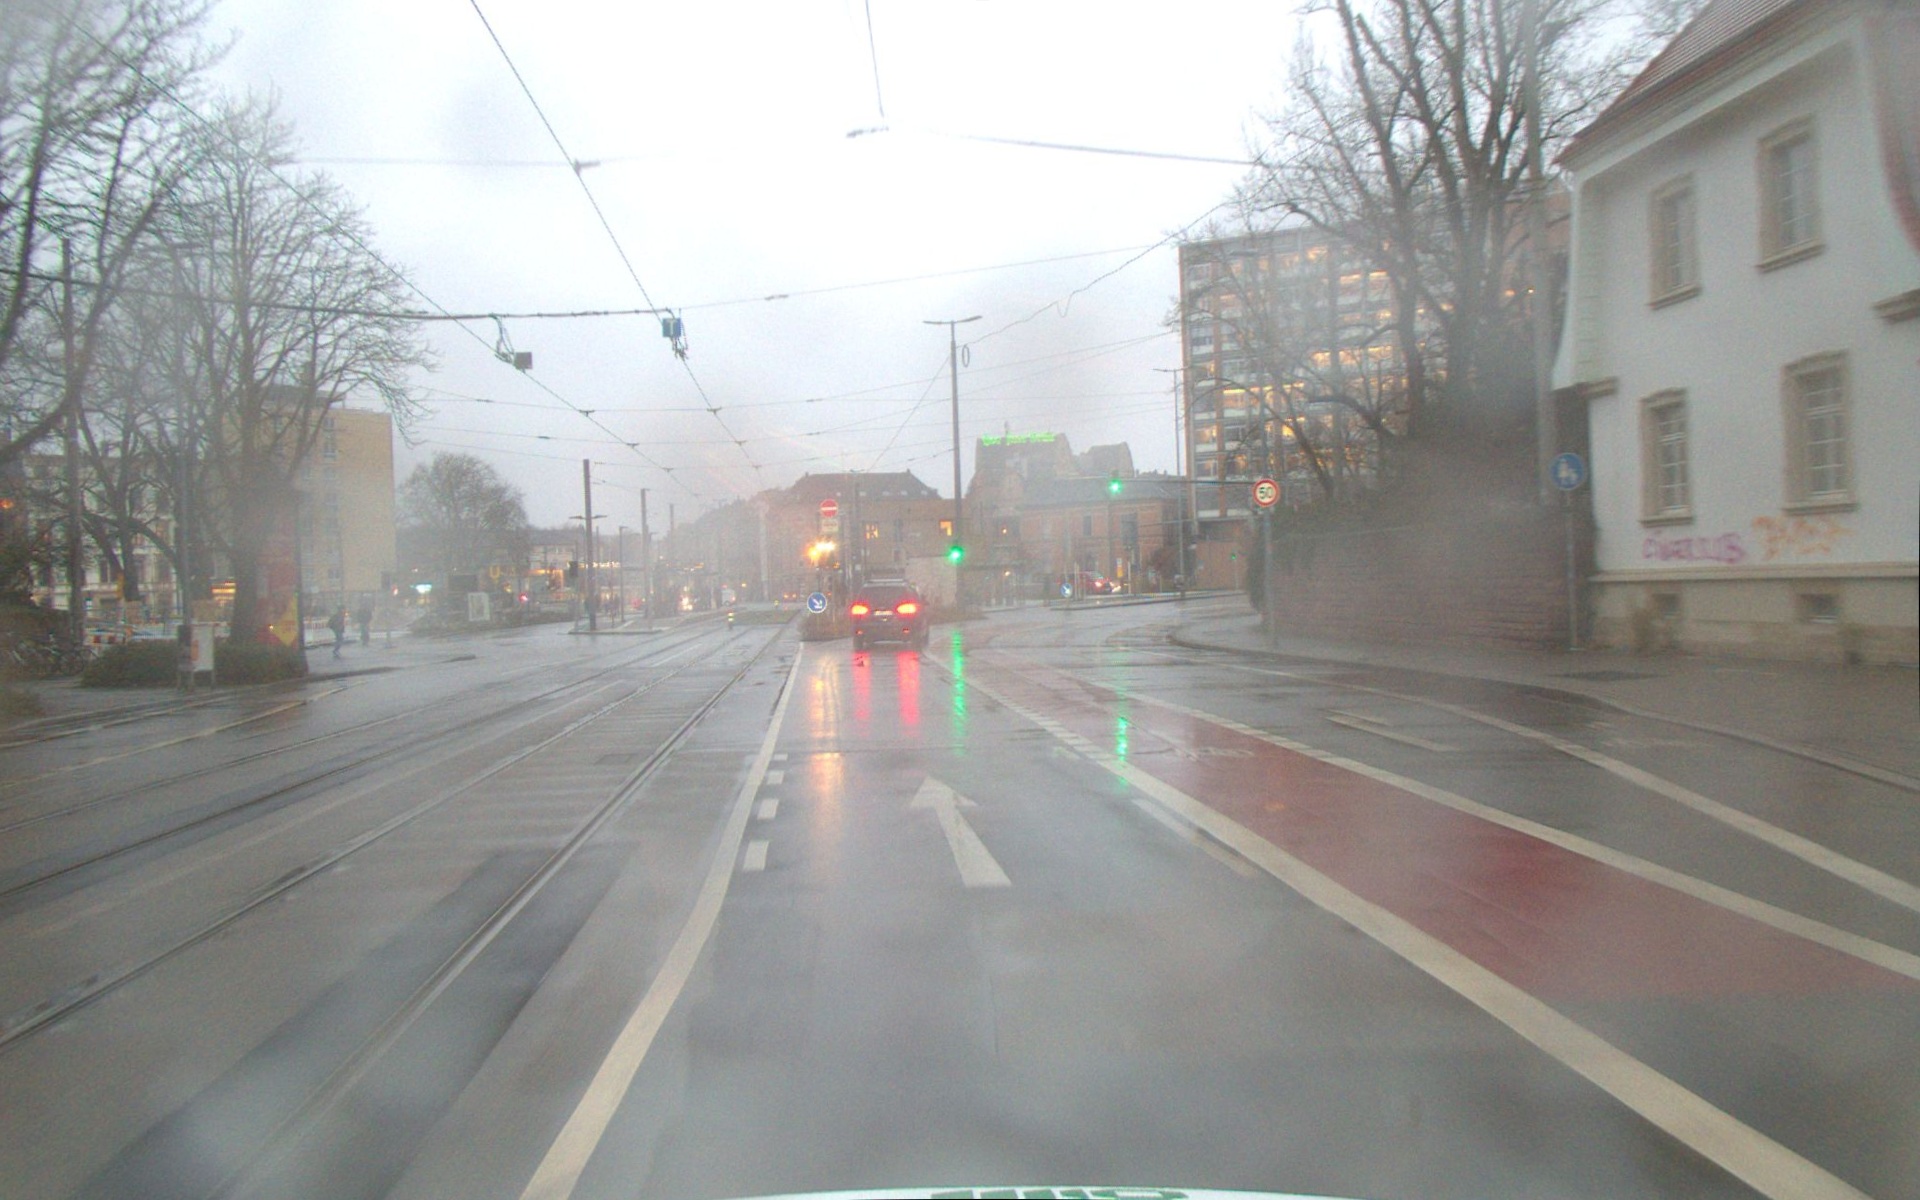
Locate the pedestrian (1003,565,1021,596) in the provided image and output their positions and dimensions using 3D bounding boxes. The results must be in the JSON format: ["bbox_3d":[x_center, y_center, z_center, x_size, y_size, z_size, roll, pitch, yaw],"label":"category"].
[{"bbox_3d":[2.893,-1.091,91.991,0.661,1.703,0.728,0,0,33],"label":"pedestrian"}]

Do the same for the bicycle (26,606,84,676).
[{"bbox_3d":[-23.032,1.022,42.059,0.708,1.718,2.390,1,0,-43],"label":"bicycle"}]

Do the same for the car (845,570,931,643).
[{"bbox_3d":[-1.942,0.133,45.700,1.612,1.850,4.004,0,2,9],"label":"car"}]

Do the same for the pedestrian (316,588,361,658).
[{"bbox_3d":[-21.696,0.794,57.757,0.974,2.412,1.063,0,0,25],"label":"pedestrian"}]

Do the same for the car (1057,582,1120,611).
[{"bbox_3d":[10.397,-0.265,134.038,2.240,2.321,4.958,1,0,-43],"label":"car"}]

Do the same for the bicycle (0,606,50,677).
[{"bbox_3d":[-23.593,1.017,41.538,0.708,1.718,2.390,1,0,-43],"label":"bicycle"}]

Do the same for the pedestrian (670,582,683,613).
[{"bbox_3d":[-16.332,-0.123,95.259,0.698,1.788,0.717,0,0,-4],"label":"pedestrian"}]
